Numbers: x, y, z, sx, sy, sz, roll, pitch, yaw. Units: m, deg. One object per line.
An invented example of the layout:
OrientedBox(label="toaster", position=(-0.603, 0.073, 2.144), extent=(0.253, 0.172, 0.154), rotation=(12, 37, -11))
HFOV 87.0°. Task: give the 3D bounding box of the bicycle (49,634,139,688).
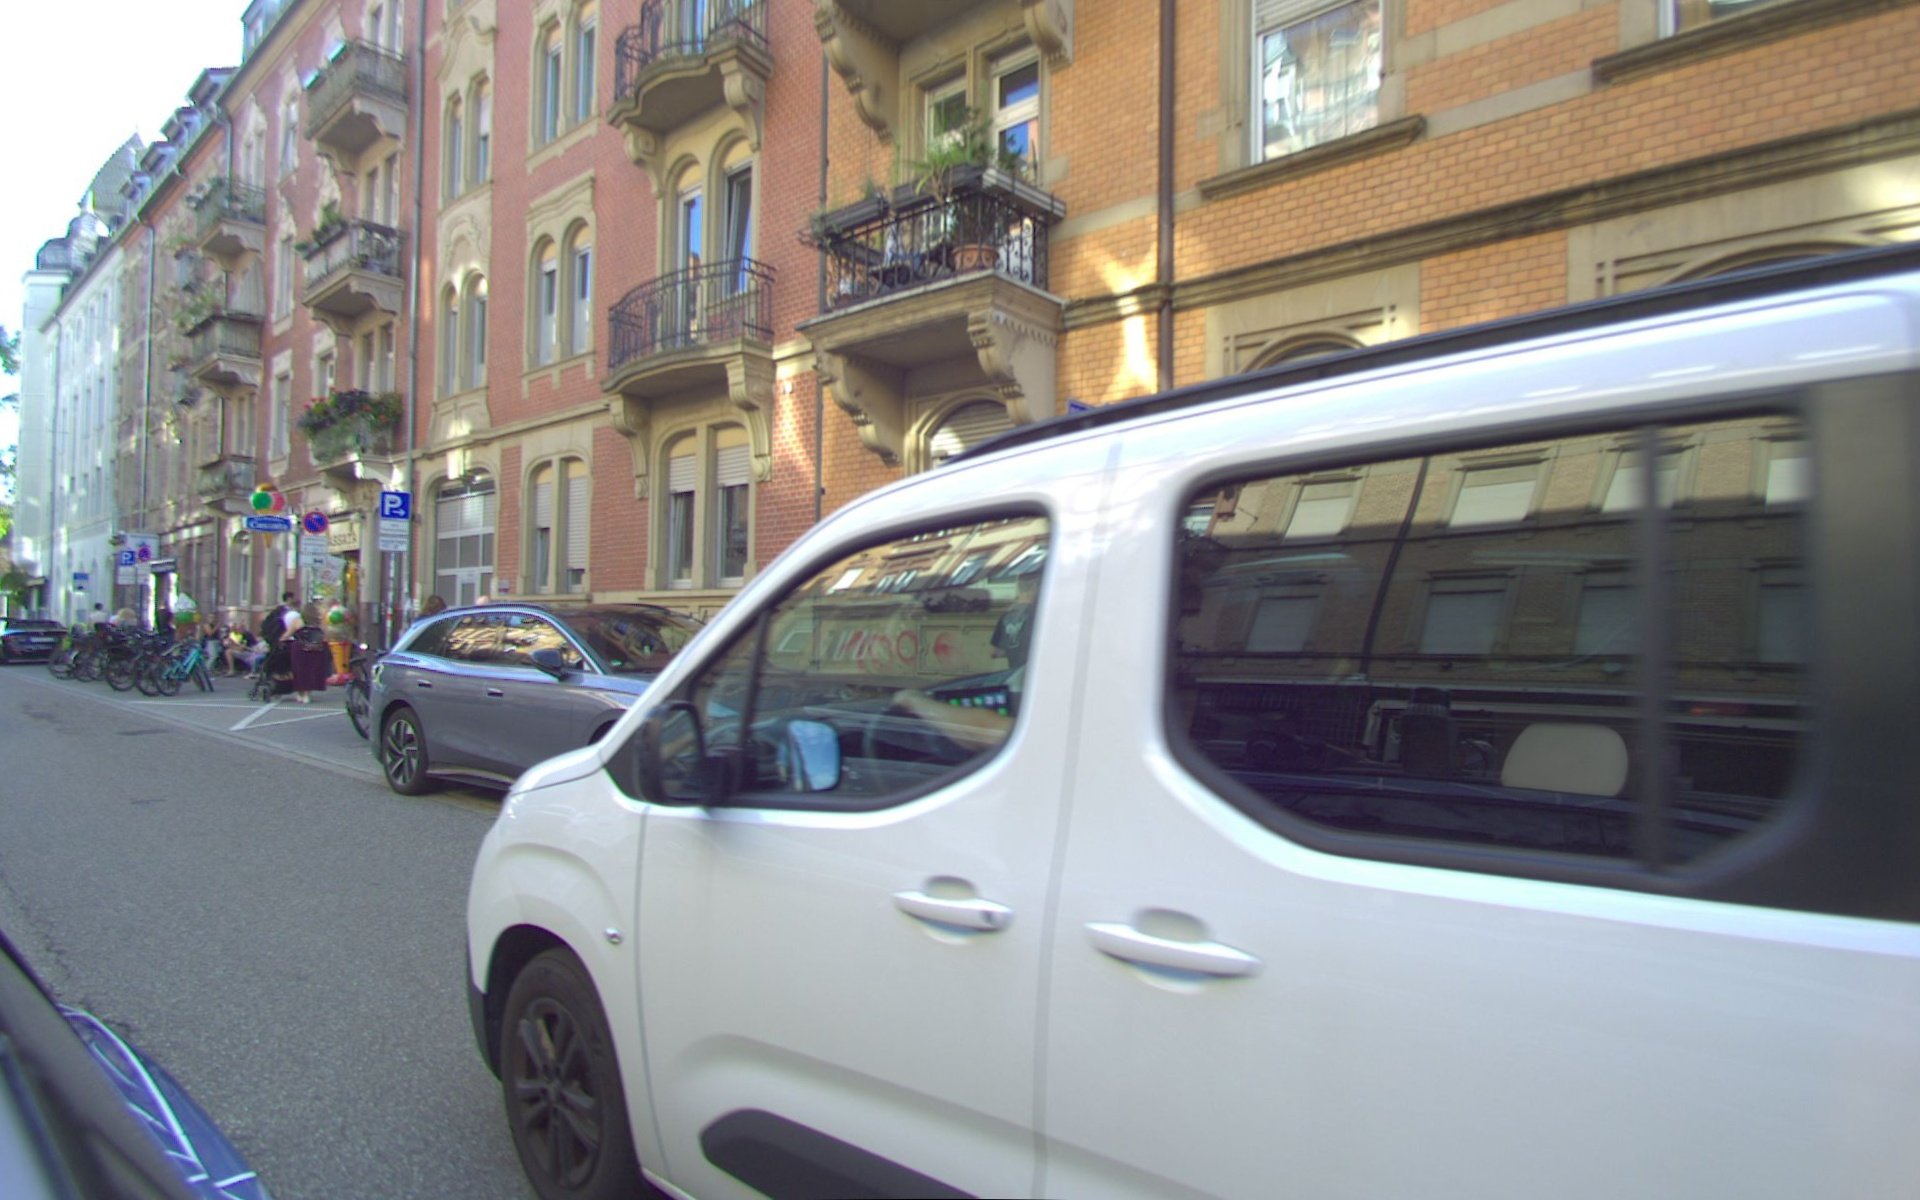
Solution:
OrientedBox(label="bicycle", position=(-19.175, 1.331, 22.451), extent=(0.583, 1.129, 1.568), rotation=(0, -1, 4))

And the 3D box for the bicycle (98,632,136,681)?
OrientedBox(label="bicycle", position=(-20.015, 1.310, 24.054), extent=(0.570, 1.098, 1.742), rotation=(0, -1, -36))

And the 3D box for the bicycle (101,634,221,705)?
OrientedBox(label="bicycle", position=(-14.588, 1.239, 18.576), extent=(0.795, 1.168, 2.275), rotation=(0, -1, -12))

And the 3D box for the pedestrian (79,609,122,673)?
OrientedBox(label="pedestrian", position=(-25.132, 1.181, 29.592), extent=(0.750, 1.832, 0.668), rotation=(0, -1, -19))

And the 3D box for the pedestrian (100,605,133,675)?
OrientedBox(label="pedestrian", position=(-21.968, 1.032, 26.363), extent=(0.596, 1.765, 0.947), rotation=(1, -2, -37))

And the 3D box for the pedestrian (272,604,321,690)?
OrientedBox(label="pedestrian", position=(-13.505, 0.945, 20.610), extent=(0.577, 1.709, 0.666), rotation=(0, -1, -2))

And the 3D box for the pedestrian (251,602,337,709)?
OrientedBox(label="pedestrian", position=(-10.809, 0.878, 16.435), extent=(0.825, 1.674, 0.904), rotation=(-1, -1, 33))

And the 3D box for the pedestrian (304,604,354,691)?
OrientedBox(label="pedestrian", position=(-12.783, 0.944, 20.501), extent=(0.763, 1.709, 0.657), rotation=(-1, -1, 41))

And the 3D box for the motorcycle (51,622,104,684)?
OrientedBox(label="motorcycle", position=(-20.621, 1.204, 23.687), extent=(0.697, 1.395, 2.029), rotation=(0, -1, -34))

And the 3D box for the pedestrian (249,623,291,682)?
OrientedBox(label="pedestrian", position=(-15.666, 1.183, 22.969), extent=(0.372, 1.323, 0.694), rotation=(-1, -2, 37))

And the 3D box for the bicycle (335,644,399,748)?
OrientedBox(label="bicycle", position=(-7.048, 1.098, 12.073), extent=(0.475, 1.067, 1.911), rotation=(0, 0, -25))

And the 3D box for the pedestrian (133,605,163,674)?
OrientedBox(label="pedestrian", position=(-21.282, 1.026, 26.537), extent=(0.597, 1.765, 0.727), rotation=(1, -2, -39))

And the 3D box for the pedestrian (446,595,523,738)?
OrientedBox(label="pedestrian", position=(-5.738, 0.785, 12.241), extent=(0.545, 1.674, 0.679), rotation=(-1, -1, 11))

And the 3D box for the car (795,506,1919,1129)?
OrientedBox(label="car", position=(1.600, 0.650, 4.717), extent=(4.886, 1.694, 1.855), rotation=(-2, -2, 38))

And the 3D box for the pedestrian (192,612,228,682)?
OrientedBox(label="pedestrian", position=(-17.758, 1.102, 23.961), extent=(0.584, 1.629, 0.547), rotation=(-1, -2, 41))

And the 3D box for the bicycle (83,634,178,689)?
OrientedBox(label="bicycle", position=(-17.981, 1.316, 21.996), extent=(0.548, 1.129, 1.735), rotation=(0, -1, 4))

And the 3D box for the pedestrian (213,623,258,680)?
OrientedBox(label="pedestrian", position=(-17.053, 1.198, 23.821), extent=(0.605, 1.323, 0.716), rotation=(-1, -2, 37))

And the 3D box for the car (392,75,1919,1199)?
OrientedBox(label="car", position=(0.732, 0.548, 2.007), extent=(4.436, 1.842, 1.897), rotation=(-1, -1, 42))

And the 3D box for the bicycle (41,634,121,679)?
OrientedBox(label="bicycle", position=(-22.333, 1.423, 25.718), extent=(1.556, 1.125, 0.375), rotation=(0, -1, -10))

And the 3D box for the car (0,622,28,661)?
OrientedBox(label="car", position=(-36.048, 1.514, 37.420), extent=(4.006, 1.426, 1.654), rotation=(-1, -1, 38))

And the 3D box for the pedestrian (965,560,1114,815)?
OrientedBox(label="pedestrian", position=(0.613, 0.636, 7.815), extent=(0.863, 1.822, 0.747), rotation=(-1, -2, 44))

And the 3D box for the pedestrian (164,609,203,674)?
OrientedBox(label="pedestrian", position=(-21.295, 1.127, 27.764), extent=(0.678, 1.773, 0.668), rotation=(0, -1, -19))

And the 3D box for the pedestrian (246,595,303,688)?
OrientedBox(label="pedestrian", position=(-14.657, 0.883, 21.650), extent=(0.658, 1.942, 0.761), rotation=(-1, -1, 10))

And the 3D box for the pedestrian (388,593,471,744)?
OrientedBox(label="pedestrian", position=(-6.217, 0.789, 11.883), extent=(0.659, 1.722, 0.564), rotation=(0, -1, 6))

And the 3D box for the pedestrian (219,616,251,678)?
OrientedBox(label="pedestrian", position=(-17.703, 1.128, 24.708), extent=(0.597, 1.481, 0.727), rotation=(1, -2, -39))

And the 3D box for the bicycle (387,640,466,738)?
OrientedBox(label="bicycle", position=(-6.800, 1.090, 12.853), extent=(0.487, 1.103, 1.907), rotation=(0, 0, -40))

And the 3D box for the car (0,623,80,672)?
OrientedBox(label="car", position=(-28.617, 1.401, 30.942), extent=(5.111, 1.361, 1.793), rotation=(-1, -2, 40))

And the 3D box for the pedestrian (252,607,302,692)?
OrientedBox(label="pedestrian", position=(-14.020, 1.008, 20.781), extent=(0.640, 1.709, 0.563), rotation=(-1, -1, 10))

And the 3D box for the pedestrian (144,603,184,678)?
OrientedBox(label="pedestrian", position=(-20.710, 1.043, 26.339), extent=(0.637, 1.906, 0.603), rotation=(0, -1, -19))

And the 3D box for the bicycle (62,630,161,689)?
OrientedBox(label="bicycle", position=(-18.573, 1.284, 22.209), extent=(0.583, 1.209, 1.788), rotation=(0, -1, 4))

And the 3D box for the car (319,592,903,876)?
OrientedBox(label="car", position=(-3.017, 0.798, 8.017), extent=(5.255, 1.590, 1.808), rotation=(-1, -1, 38))

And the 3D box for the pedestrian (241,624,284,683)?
OrientedBox(label="pedestrian", position=(-15.993, 1.207, 23.218), extent=(0.439, 1.323, 0.711), rotation=(-1, -2, 37))

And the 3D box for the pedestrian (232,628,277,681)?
OrientedBox(label="pedestrian", position=(-16.406, 1.261, 23.535), extent=(0.585, 1.206, 0.701), rotation=(-1, -2, 37))

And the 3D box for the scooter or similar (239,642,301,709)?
OrientedBox(label="scooter or similar", position=(-11.593, 1.250, 17.002), extent=(0.920, 1.063, 0.600), rotation=(-1, -1, 36))

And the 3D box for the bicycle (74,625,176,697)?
OrientedBox(label="bicycle", position=(-16.416, 1.172, 19.947), extent=(0.521, 1.332, 1.674), rotation=(0, -1, 5))
